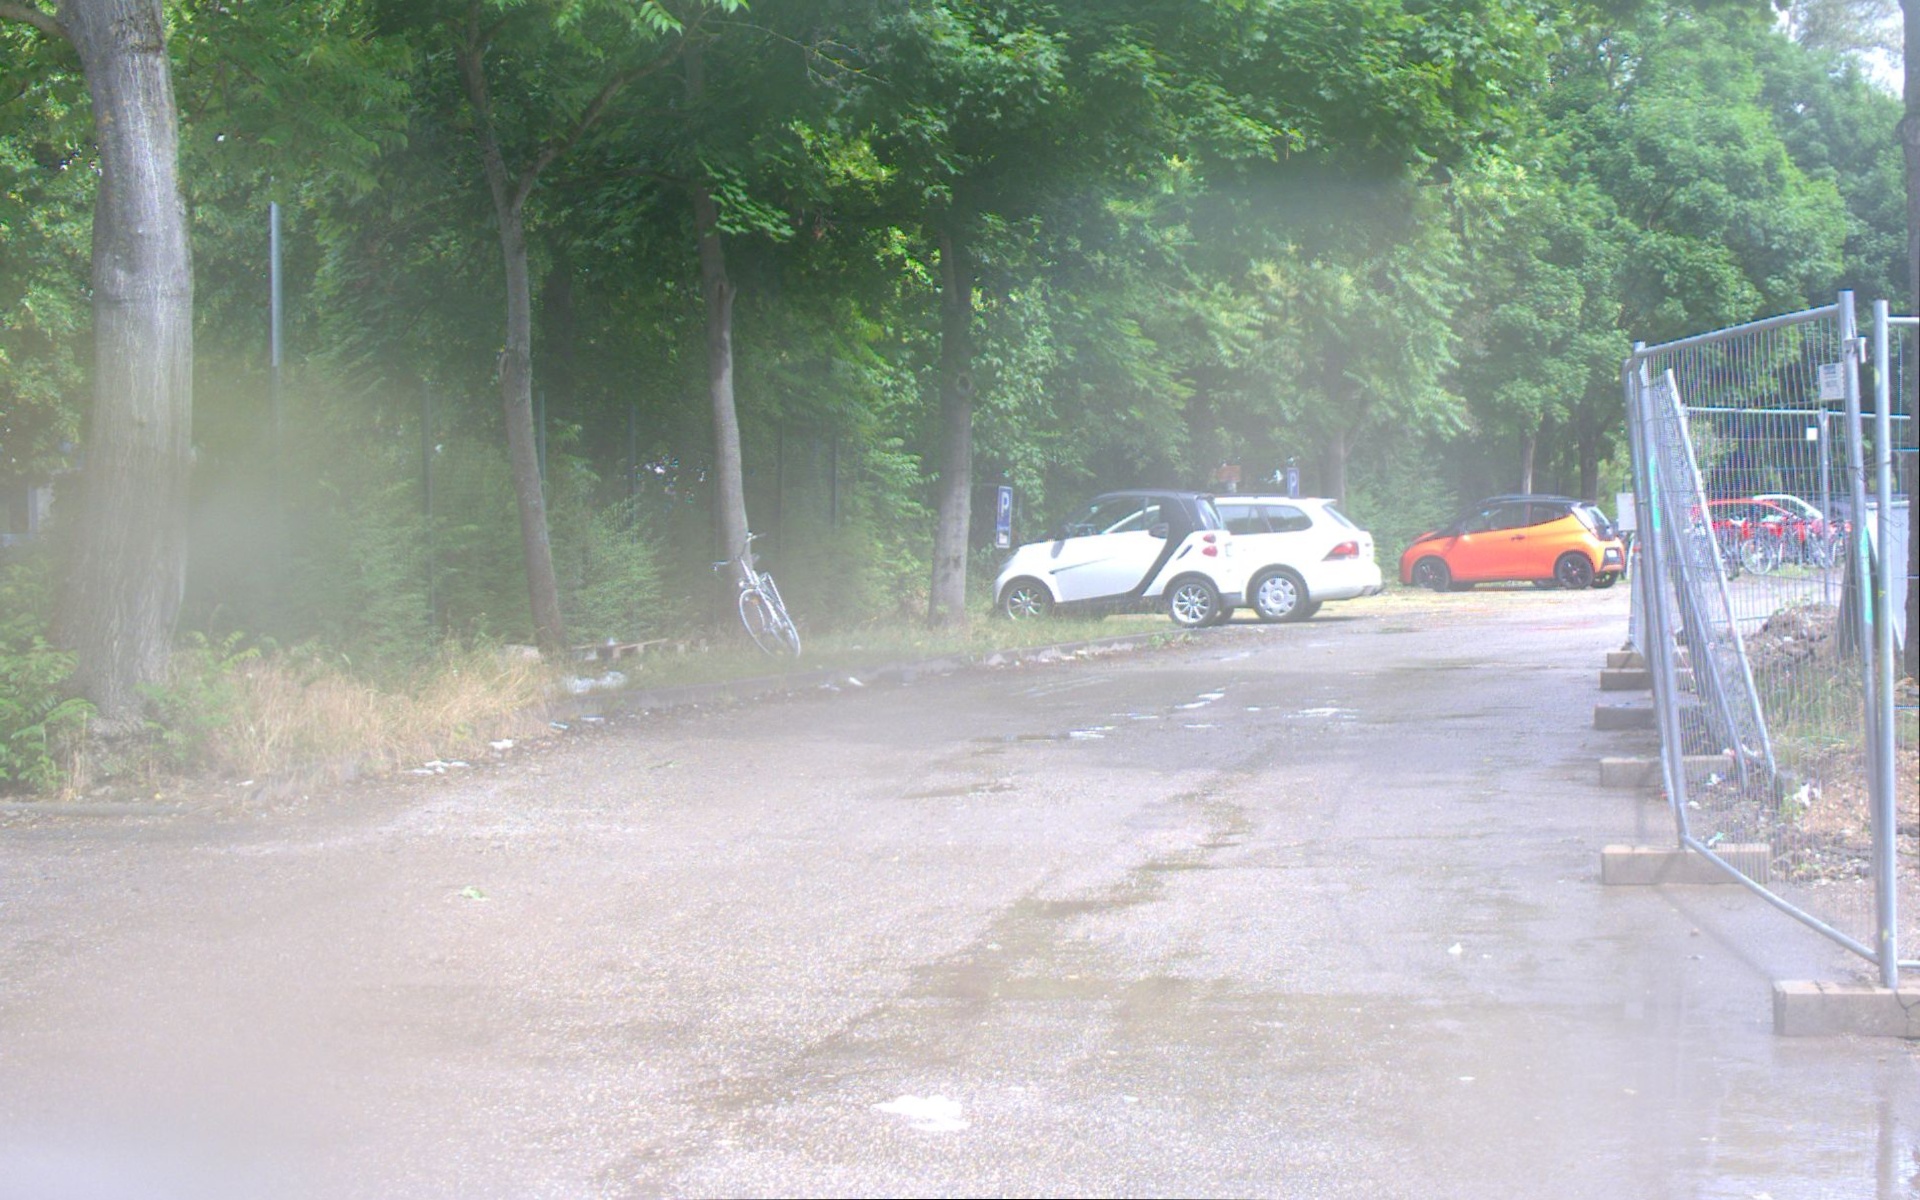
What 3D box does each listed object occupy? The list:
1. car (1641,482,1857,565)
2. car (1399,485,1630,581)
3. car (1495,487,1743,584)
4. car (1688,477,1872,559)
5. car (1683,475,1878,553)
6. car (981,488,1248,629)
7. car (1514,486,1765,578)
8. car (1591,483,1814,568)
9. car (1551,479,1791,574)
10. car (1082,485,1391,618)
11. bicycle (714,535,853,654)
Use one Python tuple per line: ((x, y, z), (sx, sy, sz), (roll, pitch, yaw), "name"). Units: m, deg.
((15.767, -1.552, 68.680), (3.991, 1.554, 1.762), (1, 3, 21), "car")
((8.789, -1.076, 54.499), (3.288, 1.420, 1.590), (2, 3, 26), "car")
((11.228, -1.120, 58.582), (3.798, 1.523, 1.907), (1, 3, 24), "car")
((17.019, -1.727, 71.328), (3.590, 1.615, 1.868), (1, 3, 17), "car")
((17.572, -1.863, 73.579), (3.860, 1.568, 1.956), (1, 3, 20), "car")
((1.749, -0.476, 38.509), (2.755, 1.479, 1.592), (-1, 3, 12), "car")
((11.975, -1.223, 60.587), (3.992, 1.491, 1.991), (1, 3, 23), "car")
((14.153, -1.432, 65.501), (3.946, 1.511, 1.804), (1, 3, 19), "car")
((13.084, -1.380, 63.248), (4.111, 1.644, 1.845), (1, 3, 19), "car")
((3.285, -0.583, 40.509), (3.433, 1.463, 1.740), (-1, 3, 12), "car")
((-1.369, -0.055, 26.870), (0.476, 0.857, 1.454), (1, 3, 24), "bicycle")
